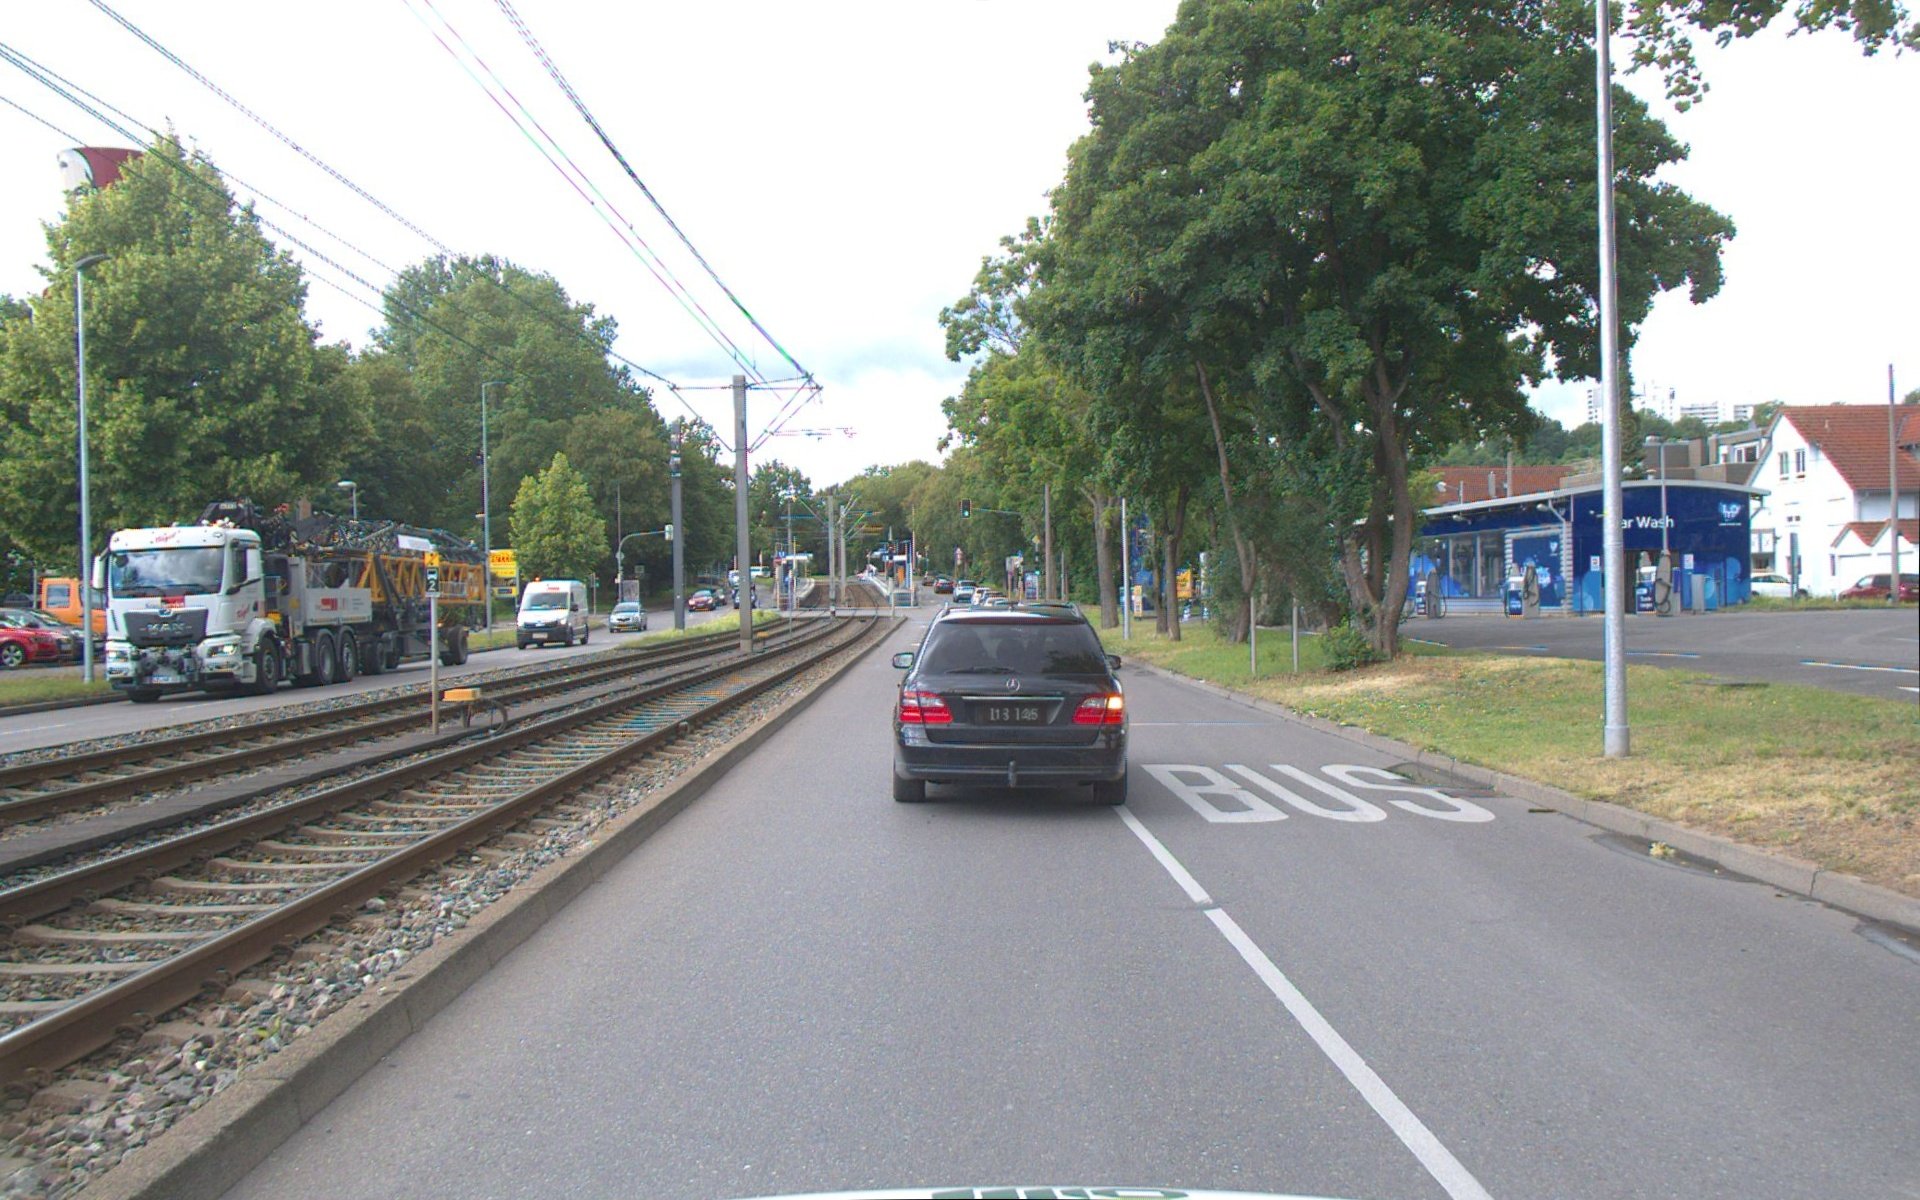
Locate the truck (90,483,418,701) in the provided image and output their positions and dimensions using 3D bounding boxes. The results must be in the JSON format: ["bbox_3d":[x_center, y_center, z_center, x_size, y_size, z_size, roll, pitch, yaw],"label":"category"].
[{"bbox_3d":[-14.133,-0.155,34.420,2.653,3.727,11.103,-1,0,-4],"label":"truck"}]

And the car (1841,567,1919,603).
[{"bbox_3d":[37.904,-0.609,67.576,1.553,1.419,3.407,1,0,-13],"label":"car"}]

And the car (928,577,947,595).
[{"bbox_3d":[-2.434,-1.466,179.232,1.953,1.870,3.999,0,0,-1],"label":"car"}]

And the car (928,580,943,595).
[{"bbox_3d":[-2.647,-1.364,176.987,1.616,1.581,3.647,0,0,-1],"label":"car"}]

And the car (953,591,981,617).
[{"bbox_3d":[0.524,0.311,121.691,1.953,1.870,3.999,0,0,-1],"label":"car"}]

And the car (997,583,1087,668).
[{"bbox_3d":[1.776,0.554,36.912,1.744,1.781,3.717,1,0,-1],"label":"car"}]

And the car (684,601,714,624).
[{"bbox_3d":[-20.109,0.959,127.612,1.729,1.676,3.770,0,0,-1],"label":"car"}]

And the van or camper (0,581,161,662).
[{"bbox_3d":[-24.470,0.587,45.645,3.910,2.172,1.876,0,0,-6],"label":"van or camper"}]

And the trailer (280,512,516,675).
[{"bbox_3d":[-14.807,-0.170,44.976,2.652,3.724,13.288,-1,0,-4],"label":"trailer"}]

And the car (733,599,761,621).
[{"bbox_3d":[-16.723,0.800,130.135,1.729,1.676,3.770,0,0,-1],"label":"car"}]

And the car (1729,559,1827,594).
[{"bbox_3d":[41.515,-1.165,84.012,4.132,1.713,1.776,0,0,-4],"label":"car"}]

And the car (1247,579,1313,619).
[{"bbox_3d":[14.442,-0.062,74.417,1.965,1.712,4.578,-1,0,23],"label":"car"}]

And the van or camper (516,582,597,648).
[{"bbox_3d":[-15.589,0.551,64.221,1.954,2.395,5.762,-2,0,-3],"label":"van or camper"}]

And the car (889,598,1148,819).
[{"bbox_3d":[0.372,0.742,13.275,1.772,1.500,3.880,0,0,-1],"label":"car"}]

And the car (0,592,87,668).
[{"bbox_3d":[-23.994,0.726,40.781,3.910,1.829,1.876,0,0,-6],"label":"car"}]

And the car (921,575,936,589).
[{"bbox_3d":[-3.725,-2.160,195.275,1.634,1.559,3.767,0,0,-4],"label":"car"}]

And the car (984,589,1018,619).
[{"bbox_3d":[2.614,0.264,105.916,1.953,1.870,3.999,0,0,-1],"label":"car"}]

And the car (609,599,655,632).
[{"bbox_3d":[-17.337,0.805,87.522,1.729,1.676,3.770,0,0,-1],"label":"car"}]
